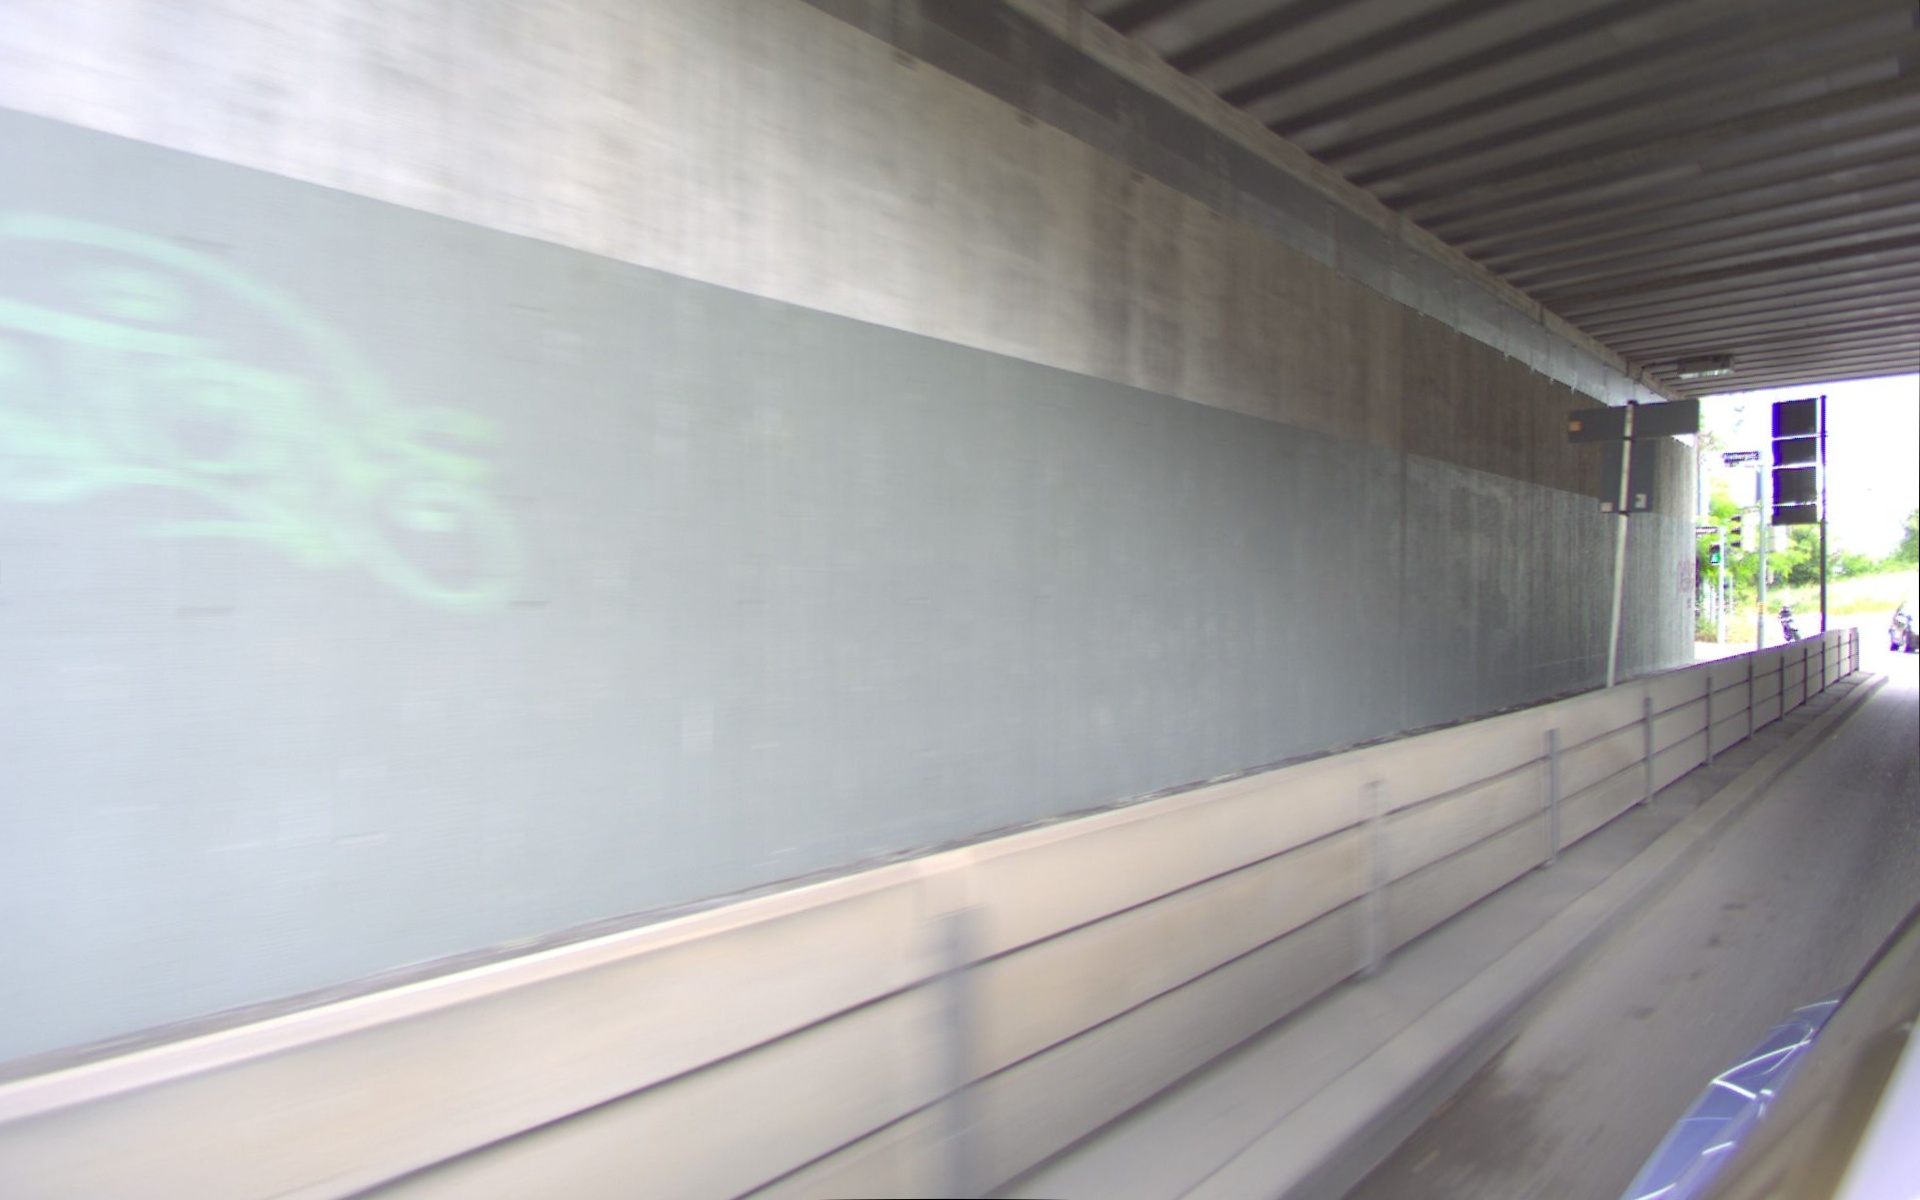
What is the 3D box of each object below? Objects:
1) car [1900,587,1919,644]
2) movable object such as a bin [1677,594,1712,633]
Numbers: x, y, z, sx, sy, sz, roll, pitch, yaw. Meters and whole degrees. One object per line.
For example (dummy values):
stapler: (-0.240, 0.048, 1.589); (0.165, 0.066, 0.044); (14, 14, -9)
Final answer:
car: (27.557, 0.440, 27.982); (1.813, 1.564, 3.678); (1, 0, 35)
movable object such as a bin: (21.513, 0.387, 29.653); (0.564, 1.129, 0.644); (0, 0, -1)
